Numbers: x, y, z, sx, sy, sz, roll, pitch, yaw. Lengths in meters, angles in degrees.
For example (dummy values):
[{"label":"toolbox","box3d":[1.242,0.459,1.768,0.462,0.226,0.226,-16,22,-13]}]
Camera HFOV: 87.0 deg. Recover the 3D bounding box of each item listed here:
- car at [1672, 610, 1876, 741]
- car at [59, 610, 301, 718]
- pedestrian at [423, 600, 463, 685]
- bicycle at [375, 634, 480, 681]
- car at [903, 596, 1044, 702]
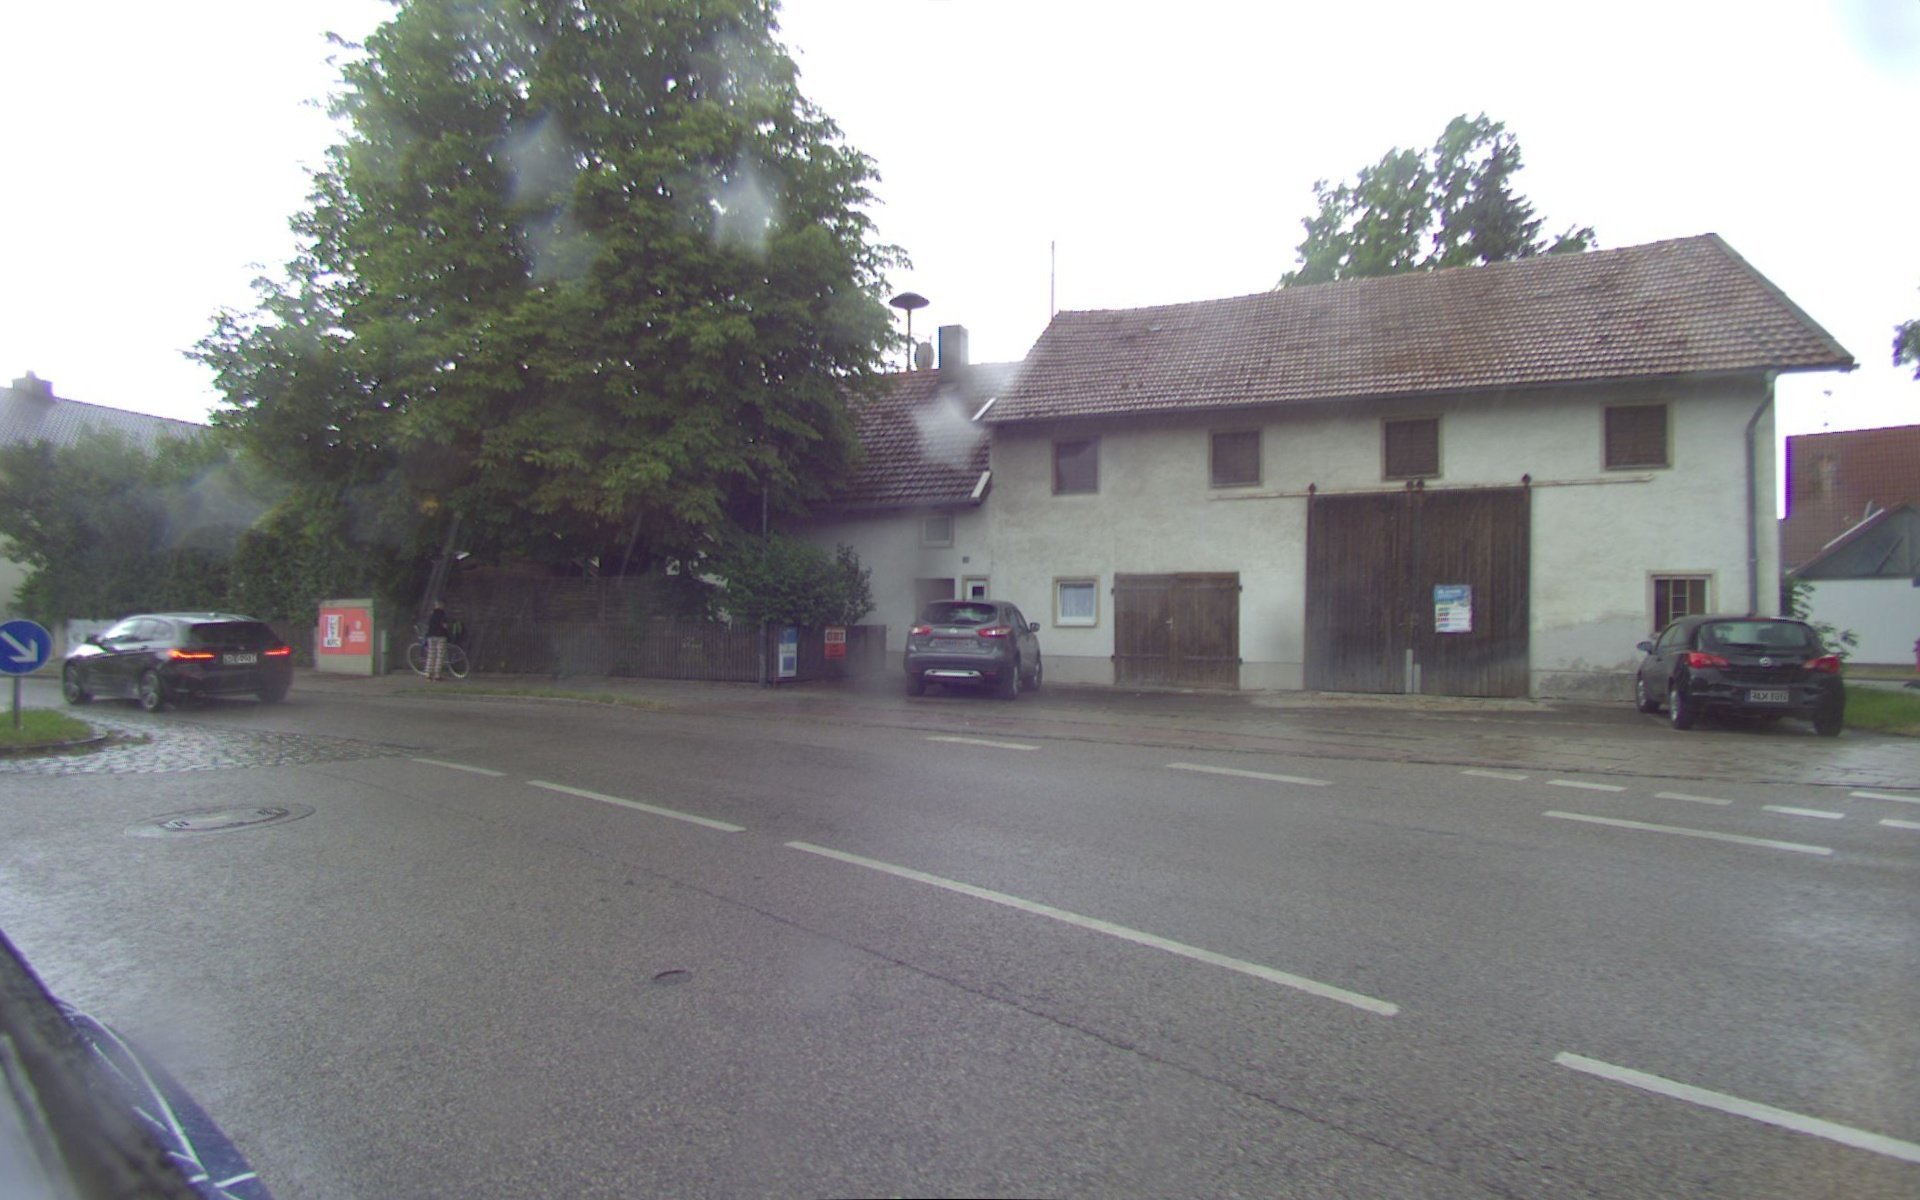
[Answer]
[{"label":"car","box3d":[10.598,0.880,13.435,1.817,1.447,4.229,-1,-1,36]},{"label":"car","box3d":[-12.273,0.923,15.871,4.047,1.502,1.797,-1,-1,33]},{"label":"pedestrian","box3d":[-10.150,0.826,19.898,0.642,1.640,0.480,0,-1,-21]},{"label":"bicycle","box3d":[-10.827,1.157,20.592,1.852,0.909,0.662,0,-1,8]},{"label":"car","box3d":[0.367,0.835,17.303,1.797,1.560,4.268,0,-3,9]}]
